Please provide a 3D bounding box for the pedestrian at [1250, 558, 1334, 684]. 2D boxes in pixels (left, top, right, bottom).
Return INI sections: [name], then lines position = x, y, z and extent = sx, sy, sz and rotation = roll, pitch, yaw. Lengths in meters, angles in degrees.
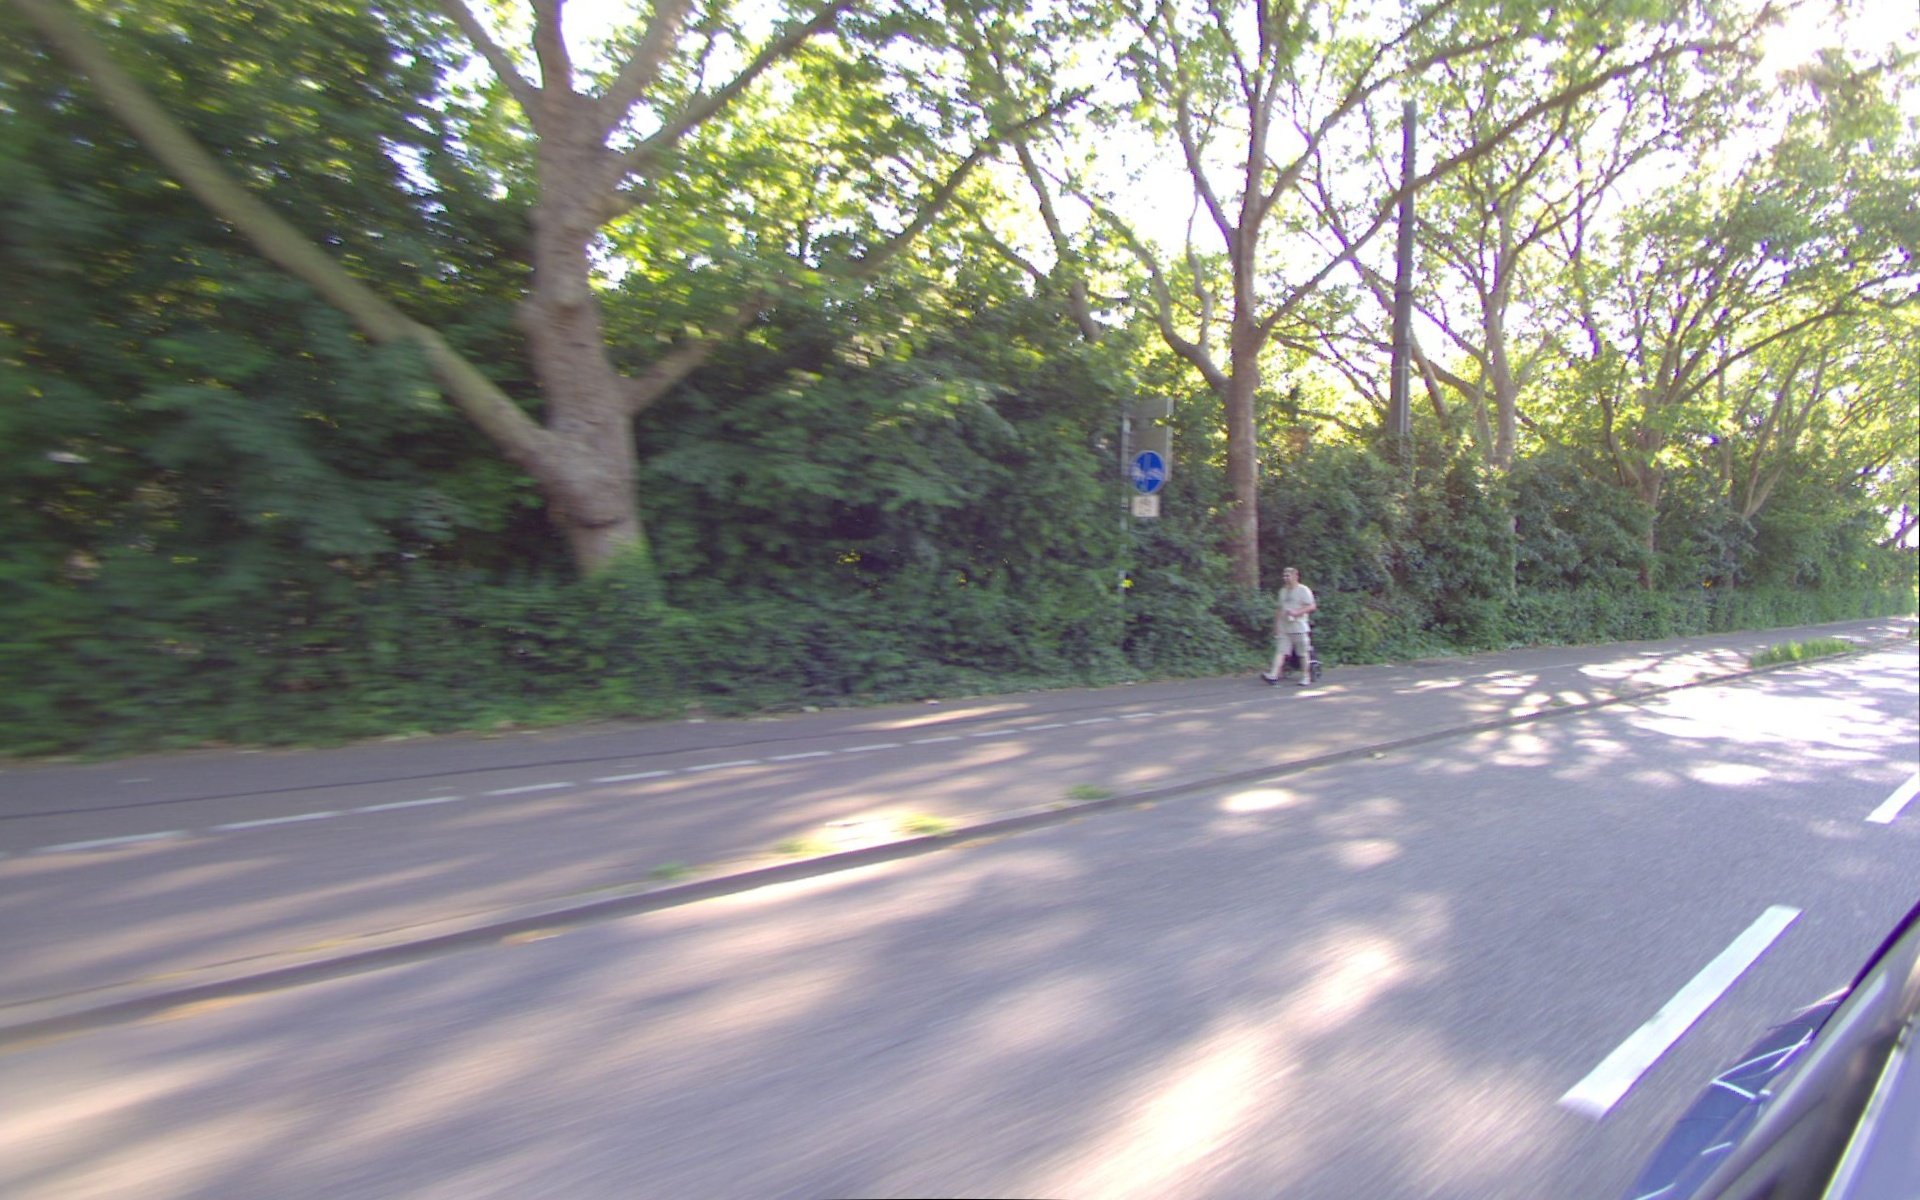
[pedestrian]
position = 4.608, 0.272, 14.055
extent = 0.911, 1.655, 0.649
rotation = 0, 3, -41
